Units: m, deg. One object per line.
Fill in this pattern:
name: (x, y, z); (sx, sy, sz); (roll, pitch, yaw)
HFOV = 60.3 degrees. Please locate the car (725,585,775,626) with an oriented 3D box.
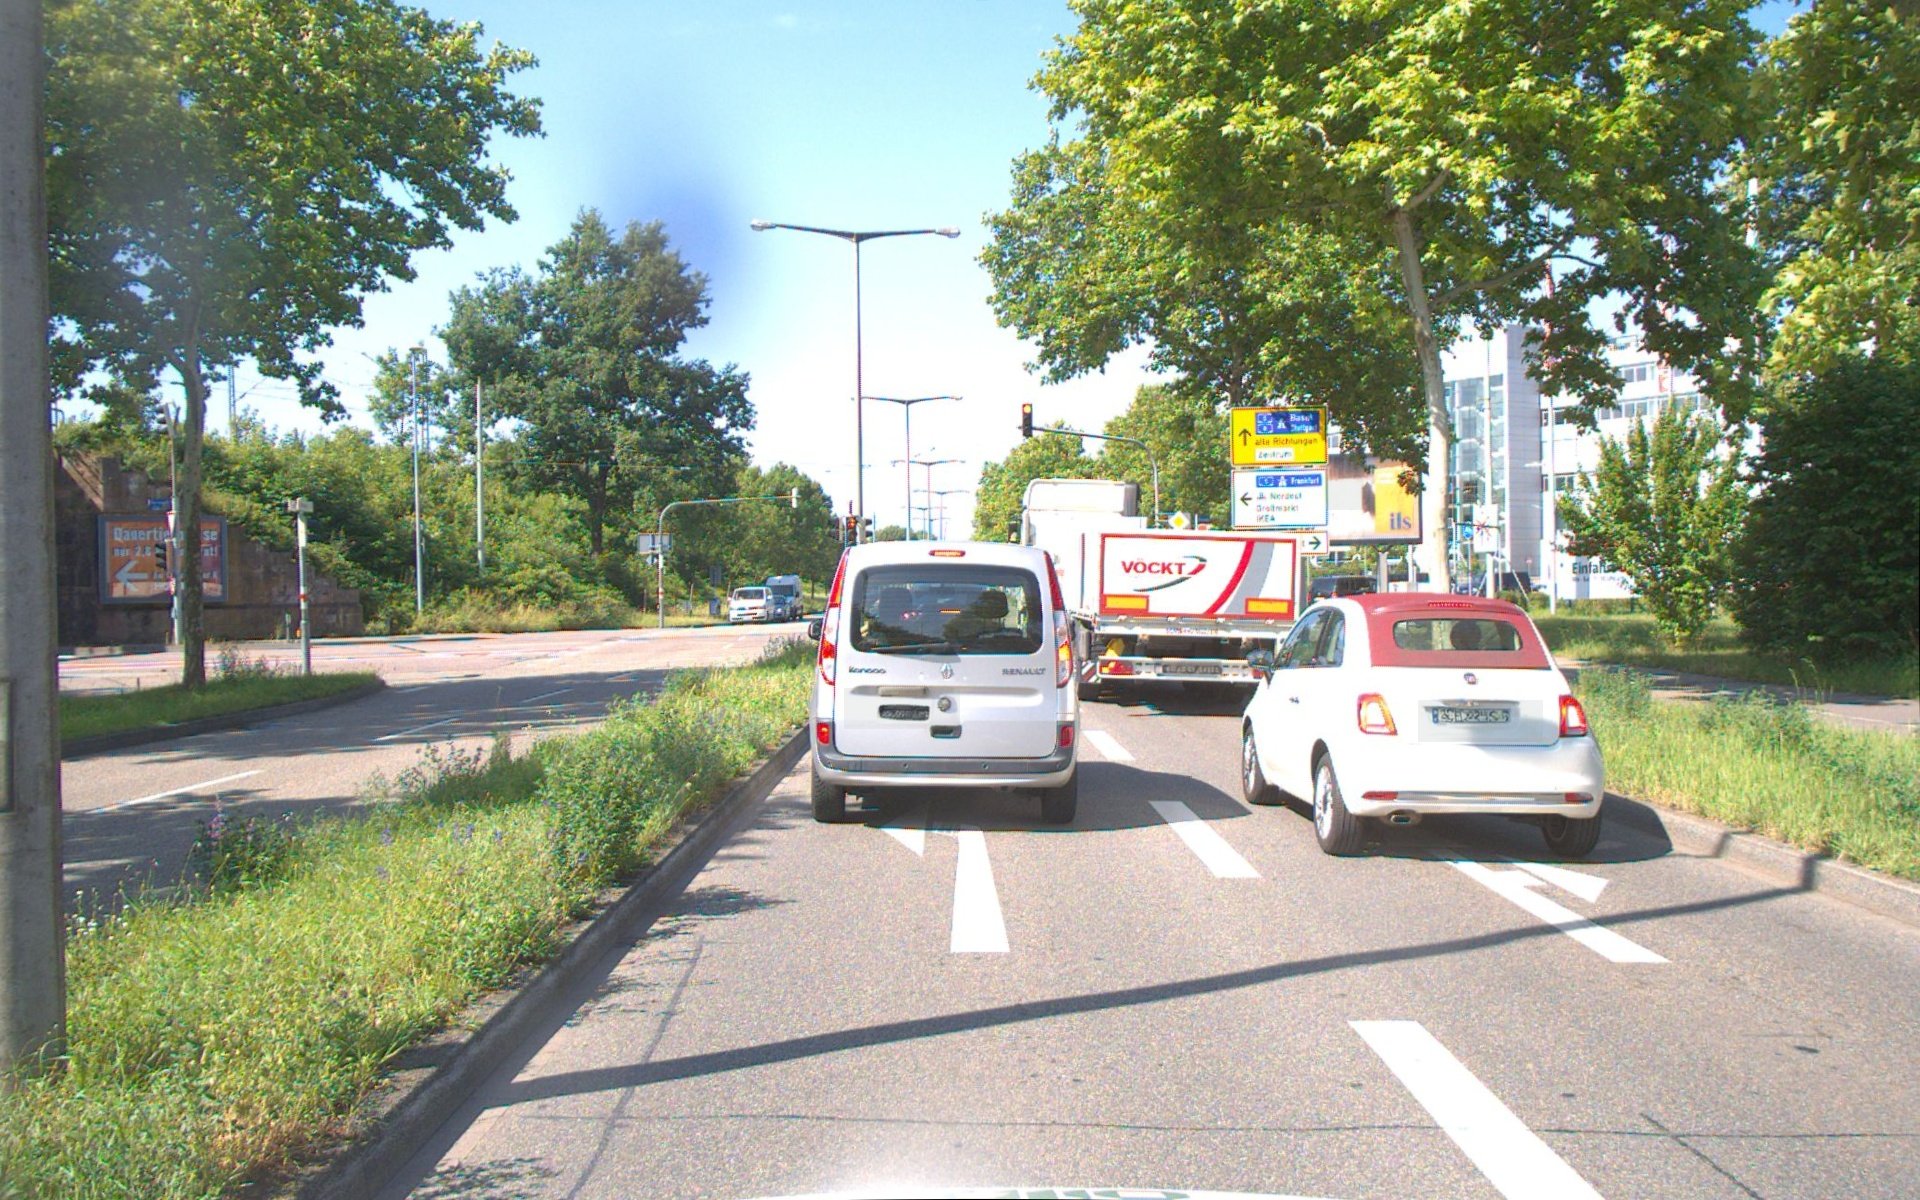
car: (-10.589, 0.244, 83.804); (1.953, 1.924, 4.986); (-3, 0, -2)

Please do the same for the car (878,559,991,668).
car: (-0.502, 0.215, 28.082); (1.773, 1.713, 3.997); (0, 0, -3)

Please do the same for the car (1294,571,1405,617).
car: (14.796, -0.225, 62.925); (3.903, 1.691, 1.724); (0, 0, 4)

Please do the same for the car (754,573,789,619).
car: (-11.309, -0.264, 98.979); (2.019, 2.660, 5.861); (0, 0, -7)

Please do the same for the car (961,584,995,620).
car: (1.038, 0.110, 97.414); (1.953, 2.049, 3.999); (0, 0, -1)

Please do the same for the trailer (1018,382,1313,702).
trailer: (2.661, -0.706, 25.806); (2.954, 3.806, 12.238); (0, 0, -1)

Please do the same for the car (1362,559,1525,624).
car: (12.860, -0.233, 44.174); (3.903, 1.691, 1.724); (0, 0, 4)

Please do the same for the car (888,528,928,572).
car: (-2.618, -2.429, 81.830); (1.681, 2.049, 3.995); (0, 0, -6)

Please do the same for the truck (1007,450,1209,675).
truck: (2.634, -0.642, 31.895); (3.009, 3.823, 7.474); (0, 0, -2)

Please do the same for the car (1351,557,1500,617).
car: (13.454, -0.371, 47.975); (3.903, 1.691, 1.724); (0, 0, 4)

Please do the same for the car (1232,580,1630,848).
car: (2.872, 0.618, 10.823); (1.627, 1.461, 3.520); (0, 0, 0)

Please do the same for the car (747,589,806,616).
car: (-10.213, 0.138, 91.902); (1.889, 1.433, 4.189); (0, 0, -28)

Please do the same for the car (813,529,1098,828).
car: (-0.065, 0.471, 11.979); (1.714, 1.803, 3.948); (0, 0, -1)
